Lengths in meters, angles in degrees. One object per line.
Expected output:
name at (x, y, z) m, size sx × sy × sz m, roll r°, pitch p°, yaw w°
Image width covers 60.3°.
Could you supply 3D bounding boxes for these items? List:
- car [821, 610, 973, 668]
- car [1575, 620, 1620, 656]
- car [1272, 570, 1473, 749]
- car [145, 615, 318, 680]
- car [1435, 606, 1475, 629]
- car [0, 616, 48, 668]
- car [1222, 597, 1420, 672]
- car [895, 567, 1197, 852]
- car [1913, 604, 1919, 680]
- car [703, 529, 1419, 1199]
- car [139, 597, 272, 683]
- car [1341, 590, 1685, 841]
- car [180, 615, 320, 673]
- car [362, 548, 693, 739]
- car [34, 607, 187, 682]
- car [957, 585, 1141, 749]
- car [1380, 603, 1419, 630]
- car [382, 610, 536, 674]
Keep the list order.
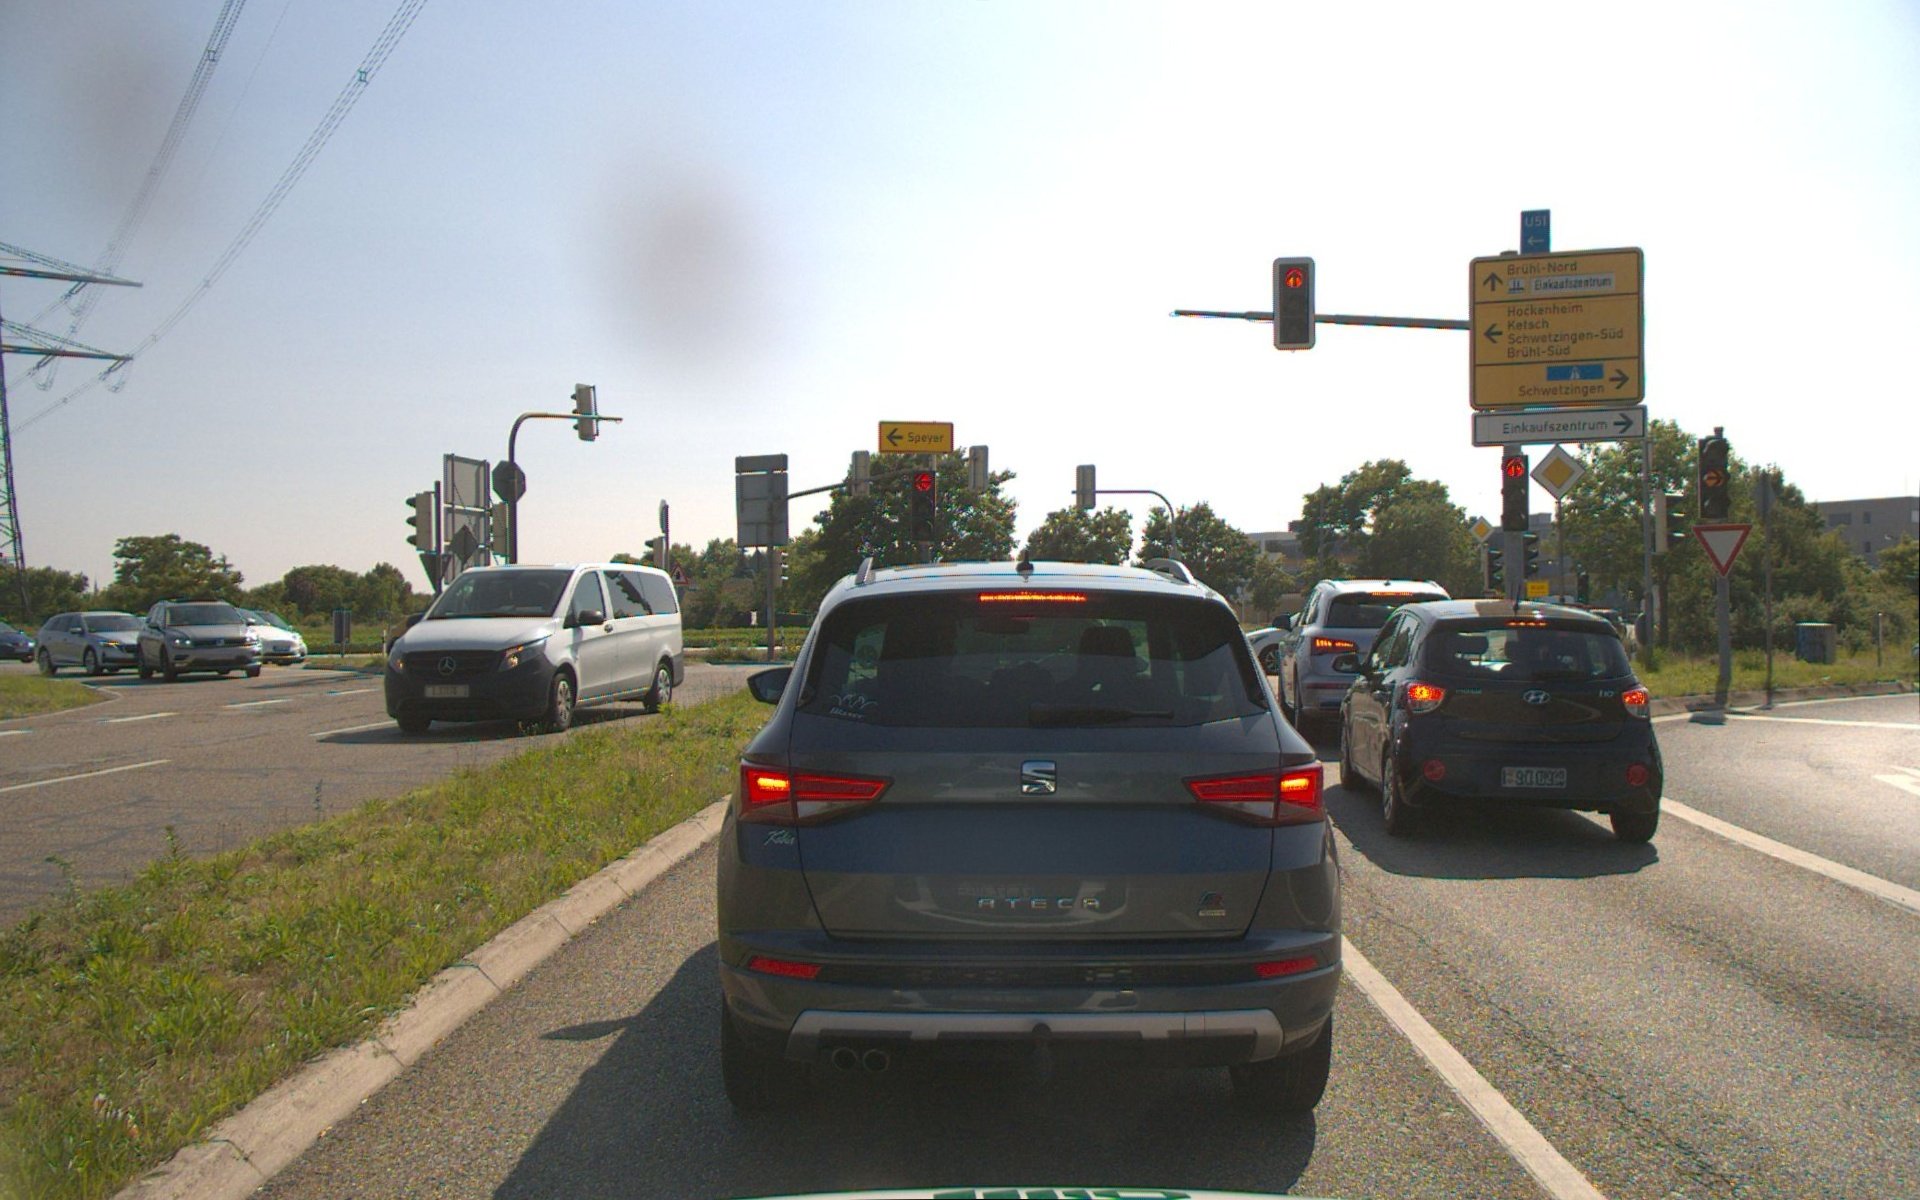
car at (-1.747, 1.058, 45.699) m, size 3.791 × 1.545 × 1.806 m, roll -1°, pitch 0°, yaw 25°
car at (31.752, 1.873, 82.343) m, size 1.839 × 1.702 × 3.767 m, roll 1°, pitch 0°, yaw 25°
car at (4.340, 0.573, 17.882) m, size 1.598 × 1.706 × 3.752 m, roll 1°, pitch 0°, yaw 6°
car at (-19.892, 1.268, 45.141) m, size 4.654 × 1.680 × 1.818 m, roll -1°, pitch 0°, yaw 27°
car at (35.826, 1.287, 119.583) m, size 1.683 × 1.576 × 3.597 m, roll 1°, pitch 0°, yaw 36°
car at (-32.621, 1.383, 55.361) m, size 3.910 × 1.680 × 1.818 m, roll -1°, pitch 0°, yaw 27°
car at (7.483, 0.683, 34.258) m, size 3.818 × 1.490 × 1.723 m, roll 0°, pitch 0°, yaw 20°
car at (0.502, 0.638, 11.304) m, size 1.706 × 1.596 × 3.624 m, roll 1°, pitch 0°, yaw 0°
car at (21.752, 0.852, 33.844) m, size 3.793 × 1.545 × 1.805 m, roll -1°, pitch 0°, yaw 27°
car at (0.228, 0.652, 5.820) m, size 1.706 × 1.596 × 3.623 m, roll 1°, pitch 0°, yaw -1°
car at (-15.729, 0.790, 34.368) m, size 1.800 × 1.680 × 3.949 m, roll 0°, pitch 0°, yaw -36°
car at (3.685, 0.685, 11.561) m, size 1.598 × 1.473 × 3.297 m, roll 1°, pitch 0°, yaw 6°
car at (-21.375, 1.294, 49.780) m, size 3.910 × 1.680 × 1.818 m, roll -1°, pitch 0°, yaw 27°
car at (-4.906, 0.423, 19.627) m, size 1.951 × 1.951 × 4.952 m, roll 1°, pitch 1°, yaw 9°
car at (-20.287, 1.027, 39.460) m, size 3.923 × 1.680 × 1.812 m, roll -1°, pitch 0°, yaw 38°
car at (0.979, 0.639, 17.386) m, size 1.705 × 1.510 × 3.626 m, roll 1°, pitch 0°, yaw 5°
car at (27.656, 1.039, 103.974) m, size 1.678 × 1.576 × 3.607 m, roll 1°, pitch 0°, yaw 26°
car at (-13.801, 1.141, 45.518) m, size 3.910 × 1.680 × 1.818 m, roll -1°, pitch 0°, yaw 27°
